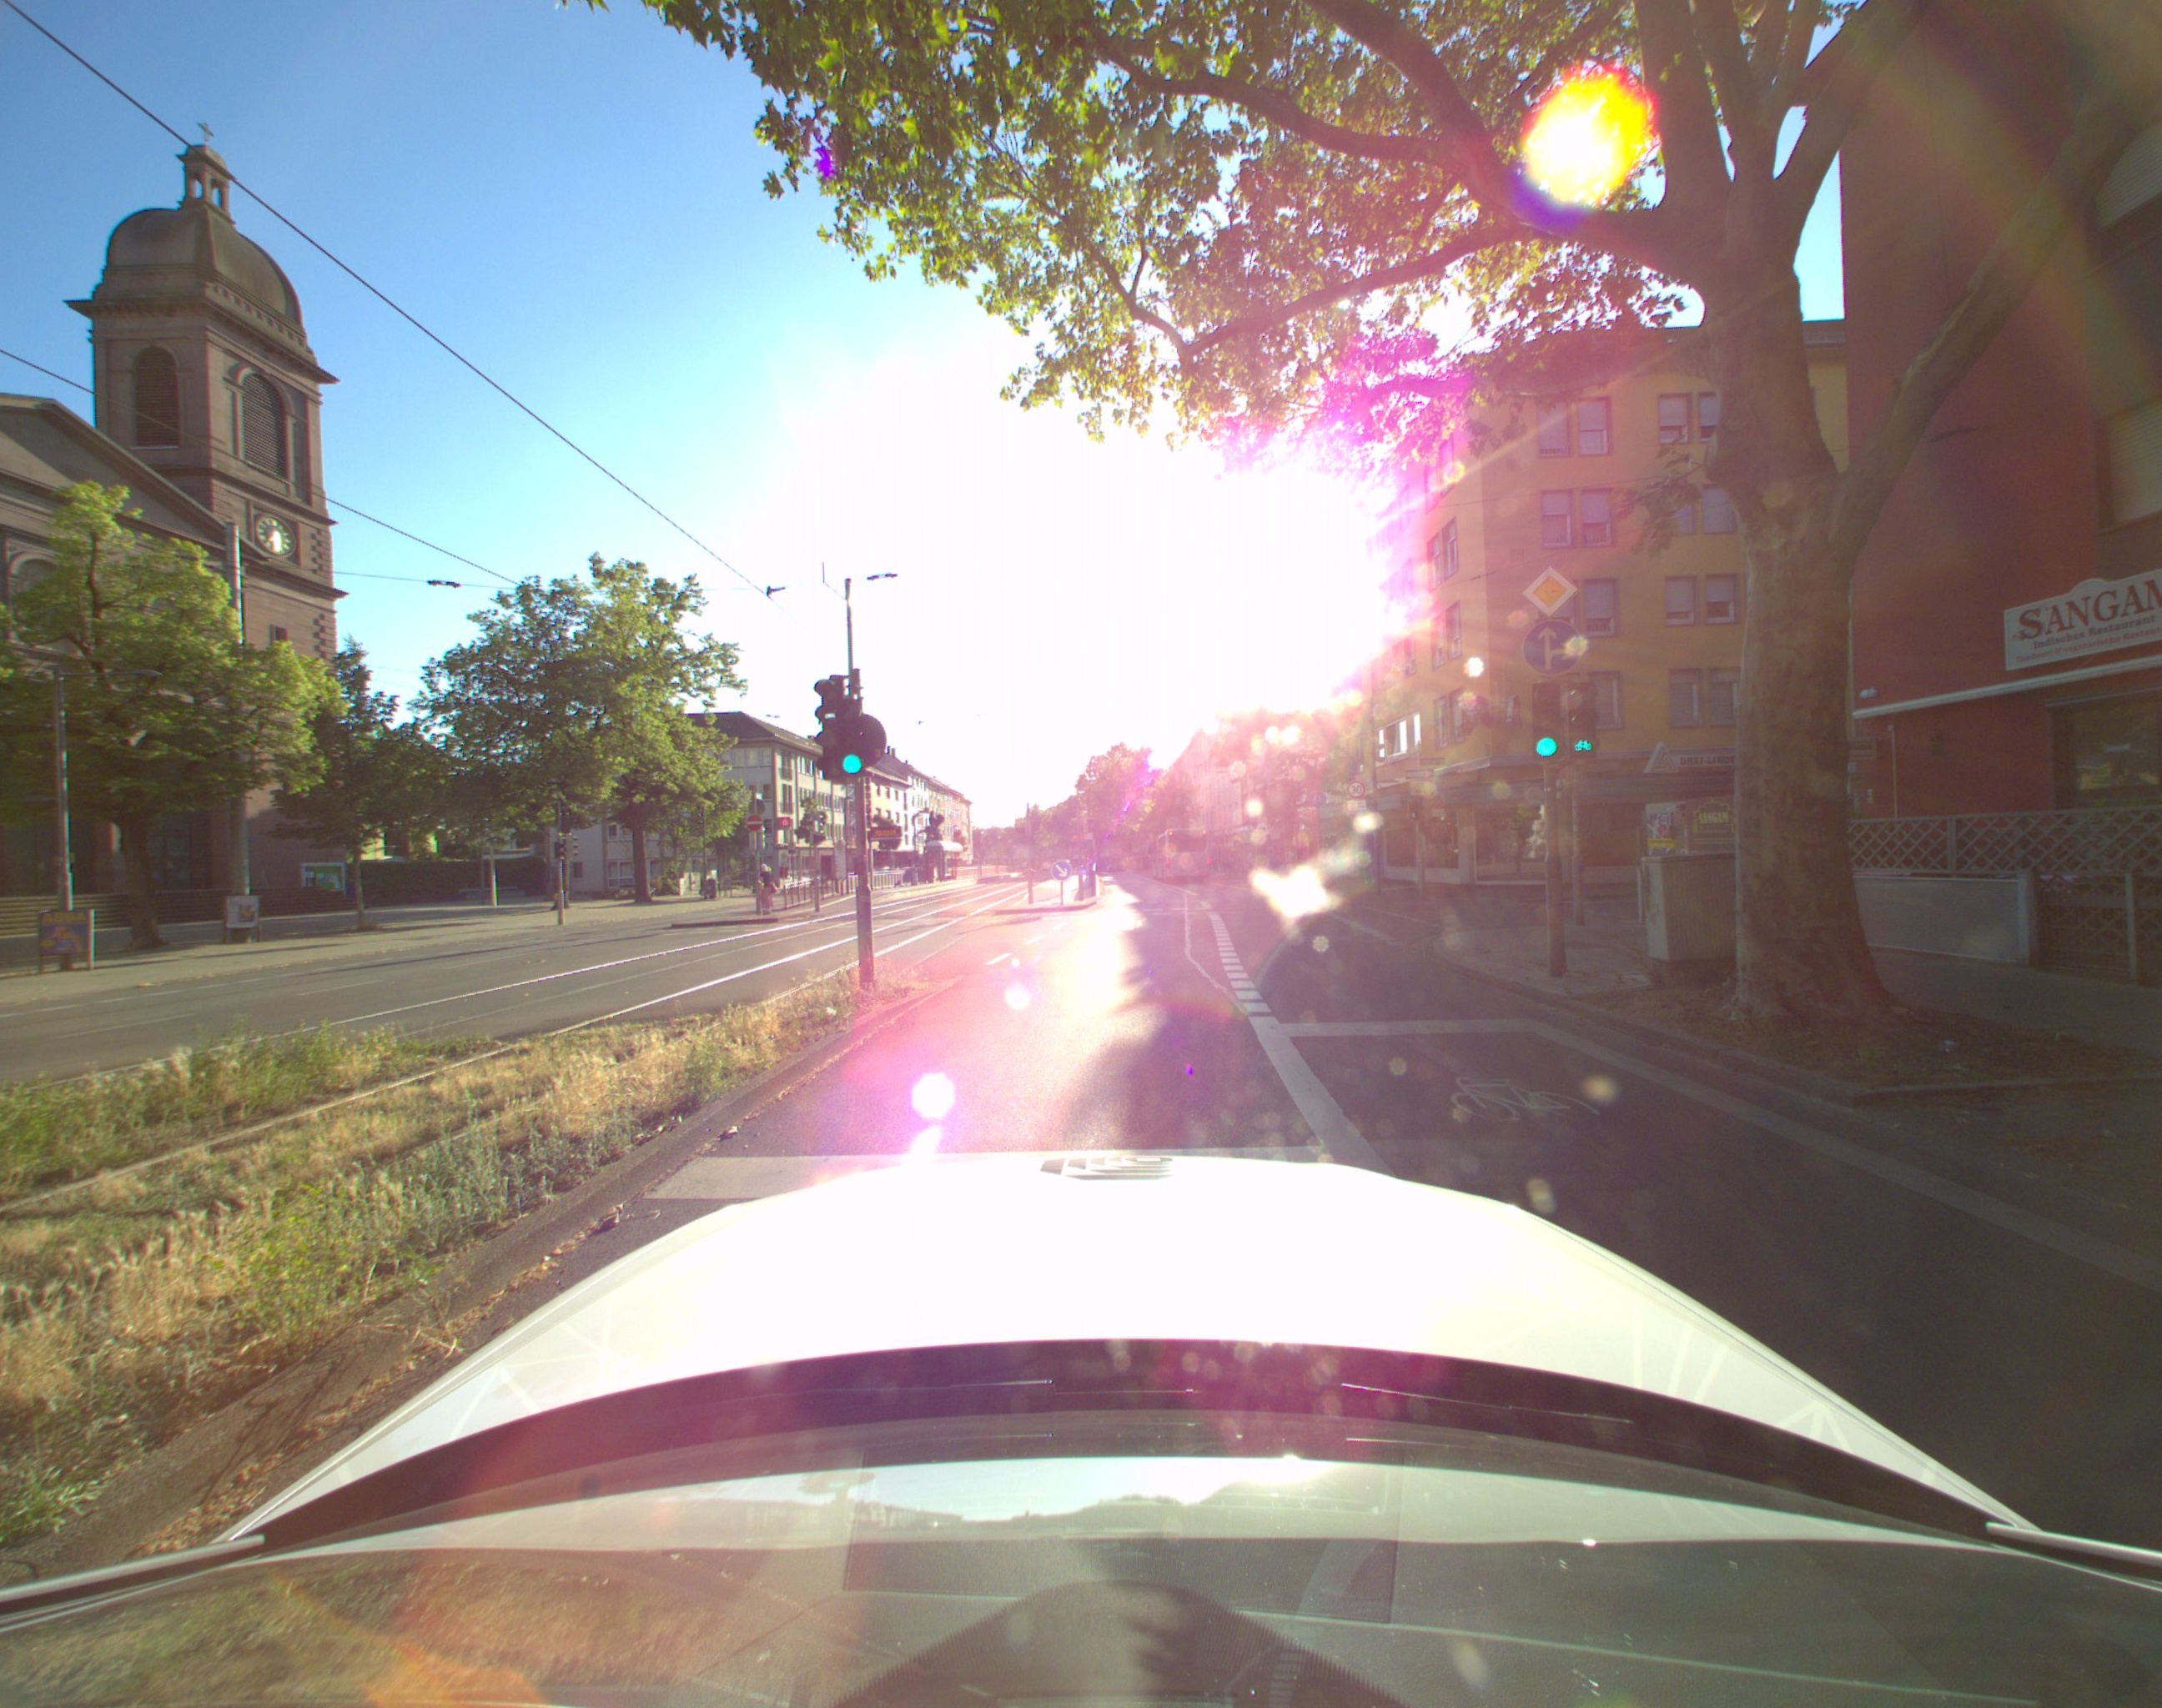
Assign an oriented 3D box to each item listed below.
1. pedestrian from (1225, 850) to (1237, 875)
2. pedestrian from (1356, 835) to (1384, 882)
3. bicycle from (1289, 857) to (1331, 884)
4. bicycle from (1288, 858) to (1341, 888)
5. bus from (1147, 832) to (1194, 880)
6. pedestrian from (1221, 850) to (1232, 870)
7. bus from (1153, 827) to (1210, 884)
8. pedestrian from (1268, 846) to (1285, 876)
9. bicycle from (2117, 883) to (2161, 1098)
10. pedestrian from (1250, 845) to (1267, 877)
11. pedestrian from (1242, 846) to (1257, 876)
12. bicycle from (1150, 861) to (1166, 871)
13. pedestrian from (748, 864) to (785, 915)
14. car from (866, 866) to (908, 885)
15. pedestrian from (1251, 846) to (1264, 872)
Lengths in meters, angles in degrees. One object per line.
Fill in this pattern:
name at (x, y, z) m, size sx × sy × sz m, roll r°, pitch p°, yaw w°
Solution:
pedestrian at (9.792, 0.558, 53.122) m, size 0.607 × 1.578 × 0.852 m, roll -2°, pitch 0°, yaw 4°
pedestrian at (11.309, 0.173, 31.907) m, size 0.741 × 1.780 × 0.895 m, roll -1°, pitch -1°, yaw 1°
bicycle at (8.947, 0.643, 31.775) m, size 1.479 × 1.008 × 0.454 m, roll -2°, pitch 0°, yaw -2°
bicycle at (8.905, 0.720, 31.105) m, size 1.793 × 1.008 × 0.540 m, roll -4°, pitch -1°, yaw -3°
bus at (6.384, 0.162, 59.377) m, size 2.686 × 3.118 × 9.074 m, roll -1°, pitch 0°, yaw 2°
pedestrian at (12.264, 0.524, 68.786) m, size 0.721 × 1.632 × 0.766 m, roll -2°, pitch 0°, yaw 1°
bus at (6.009, 0.099, 50.127) m, size 2.686 × 3.118 × 9.386 m, roll -1°, pitch 0°, yaw 2°
pedestrian at (11.557, 0.400, 48.130) m, size 0.721 × 1.723 × 0.766 m, roll -2°, pitch -1°, yaw 1°
bicycle at (5.665, 0.755, 3.615) m, size 0.613 × 1.111 × 1.812 m, roll -3°, pitch 1°, yaw 28°
pedestrian at (10.119, 0.404, 46.375) m, size 0.721 × 1.807 × 0.766 m, roll -2°, pitch -1°, yaw 1°
pedestrian at (10.311, 0.434, 49.909) m, size 0.721 × 1.779 × 0.766 m, roll -2°, pitch -1°, yaw 1°
bicycle at (9.535, 1.448, 100.876) m, size 1.879 × 1.077 × 0.755 m, roll -6°, pitch -1°, yaw 4°
pedestrian at (-11.082, 1.235, 28.734) m, size 0.915 × 1.760 × 0.833 m, roll -2°, pitch -1°, yaw 2°
car at (-18.598, 2.042, 78.081) m, size 1.748 × 1.679 × 3.533 m, roll -2°, pitch 0°, yaw 39°
pedestrian at (12.470, 0.360, 57.597) m, size 0.721 × 1.840 × 0.766 m, roll -2°, pitch -1°, yaw 1°
